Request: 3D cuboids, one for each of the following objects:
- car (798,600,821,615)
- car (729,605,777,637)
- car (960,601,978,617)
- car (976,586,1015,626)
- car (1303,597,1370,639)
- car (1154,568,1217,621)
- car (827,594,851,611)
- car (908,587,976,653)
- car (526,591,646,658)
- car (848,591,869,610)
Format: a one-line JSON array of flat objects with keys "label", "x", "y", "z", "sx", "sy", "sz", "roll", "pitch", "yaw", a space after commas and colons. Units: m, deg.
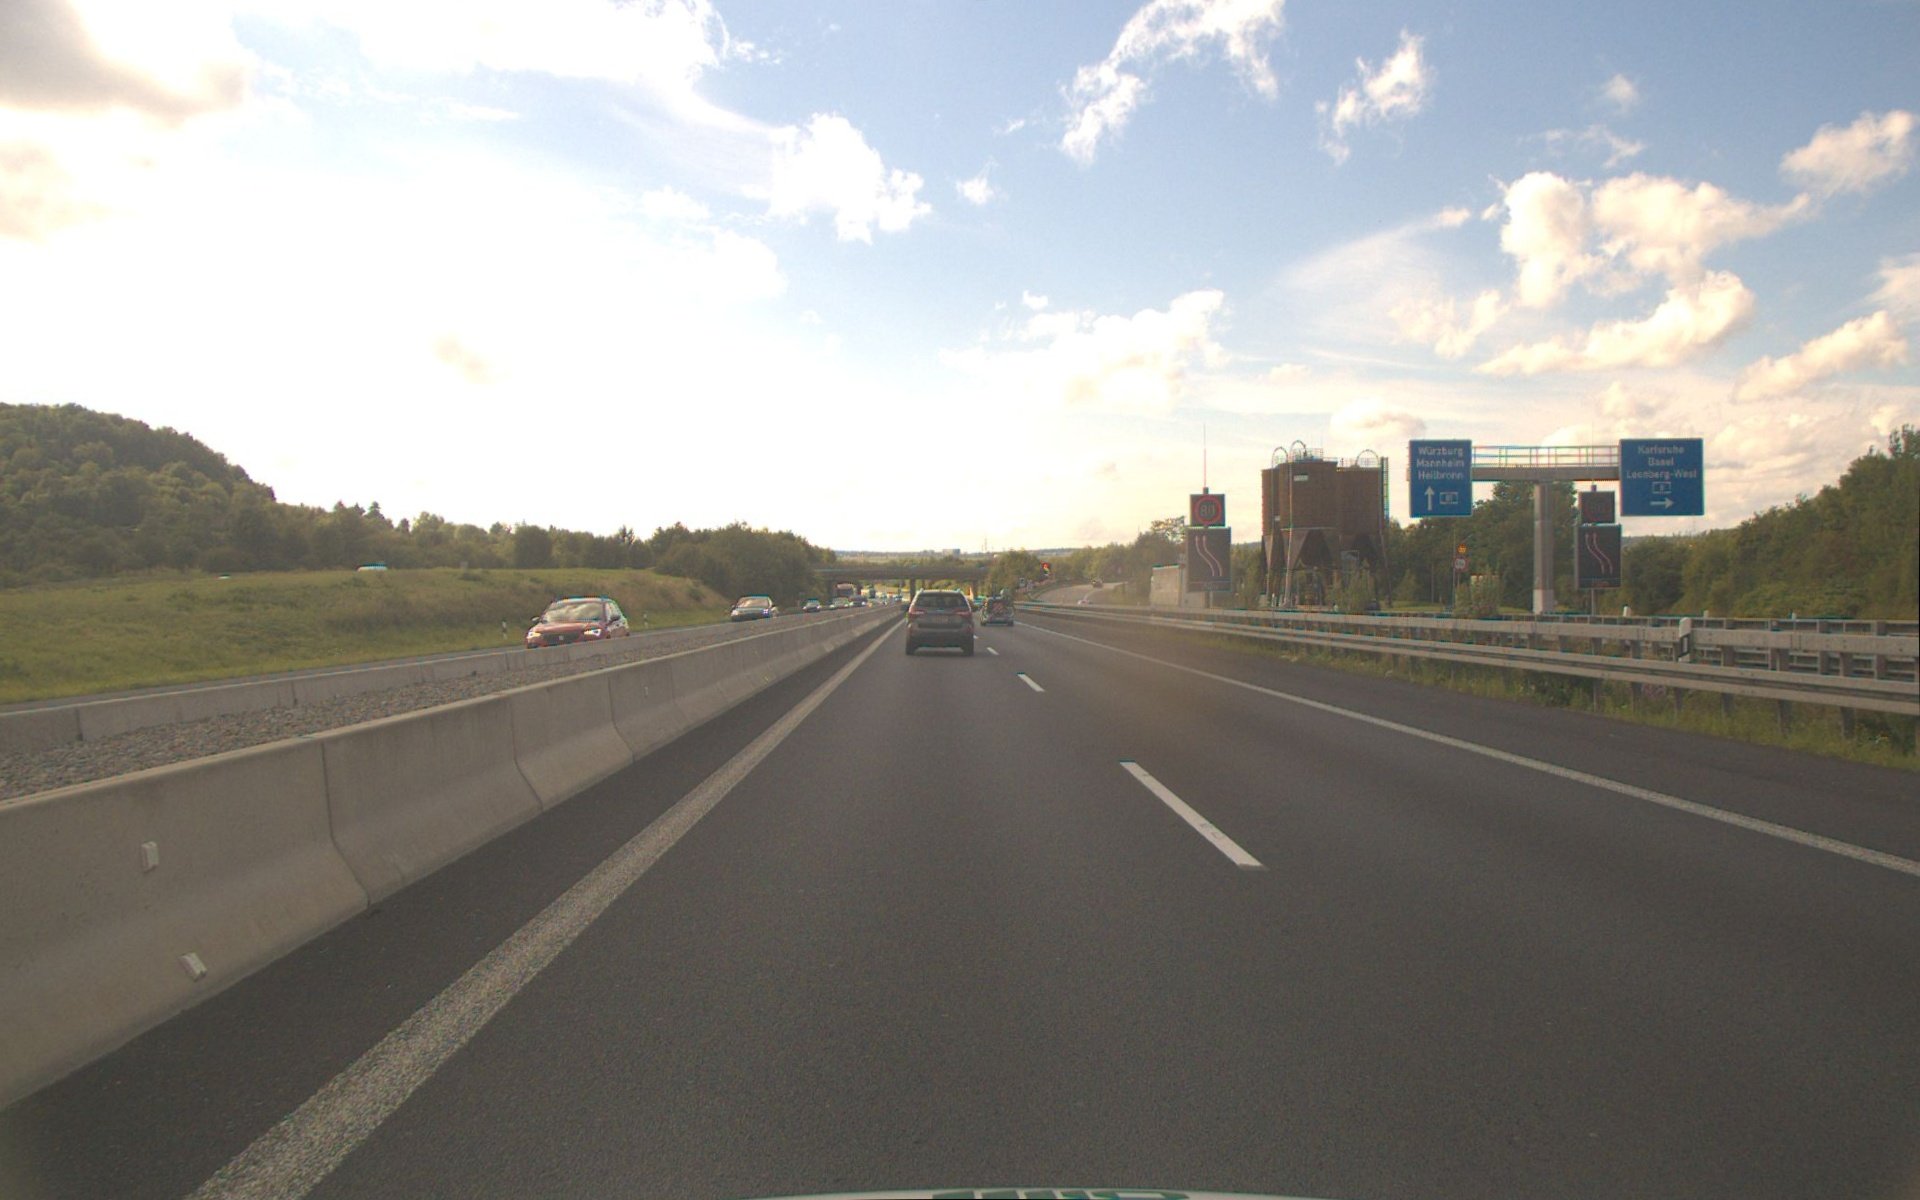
[{"label": "car", "x": -15.650, "y": 0.791, "z": 172.584, "sx": 1.953, "sy": 1.504, "sz": 4.691, "roll": -2, "pitch": 0, "yaw": 0}, {"label": "car", "x": -9.977, "y": 0.986, "z": 80.008, "sx": 1.751, "sy": 1.422, "sz": 4.622, "roll": -2, "pitch": 0, "yaw": -1}, {"label": "car", "x": 1.056, "y": 1.058, "z": 190.340, "sx": 1.935, "sy": 1.810, "sz": 4.119, "roll": -2, "pitch": 0, "yaw": -1}, {"label": "car", "x": 1.953, "y": 0.322, "z": 92.418, "sx": 1.953, "sy": 2.117, "sz": 3.999, "roll": -2, "pitch": 0, "yaw": -1}, {"label": "car", "x": 16.468, "y": 0.782, "z": 72.540, "sx": 1.953, "sy": 1.747, "sz": 3.999, "roll": -2, "pitch": 0, "yaw": -1}, {"label": "car", "x": 16.767, "y": -0.402, "z": 123.479, "sx": 3.504, "sy": 3.741, "sz": 7.547, "roll": -2, "pitch": 0, "yaw": -1}, {"label": "car", "x": -11.799, "y": 0.246, "z": 161.953, "sx": 1.953, "sy": 1.600, "sz": 5.364, "roll": -2, "pitch": 0, "yaw": 0}, {"label": "car", "x": -0.460, "y": 0.525, "z": 44.719, "sx": 1.714, "sy": 1.659, "sz": 3.609, "roll": -2, "pitch": 0, "yaw": 0}, {"label": "car", "x": -8.678, "y": 0.549, "z": 38.761, "sx": 1.751, "sy": 1.422, "sz": 4.798, "roll": -2, "pitch": 0, "yaw": -1}, {"label": "car", "x": -11.523, "y": 0.092, "z": 188.063, "sx": 1.953, "sy": 2.049, "sz": 5.840, "roll": -2, "pitch": 0, "yaw": 0}]
